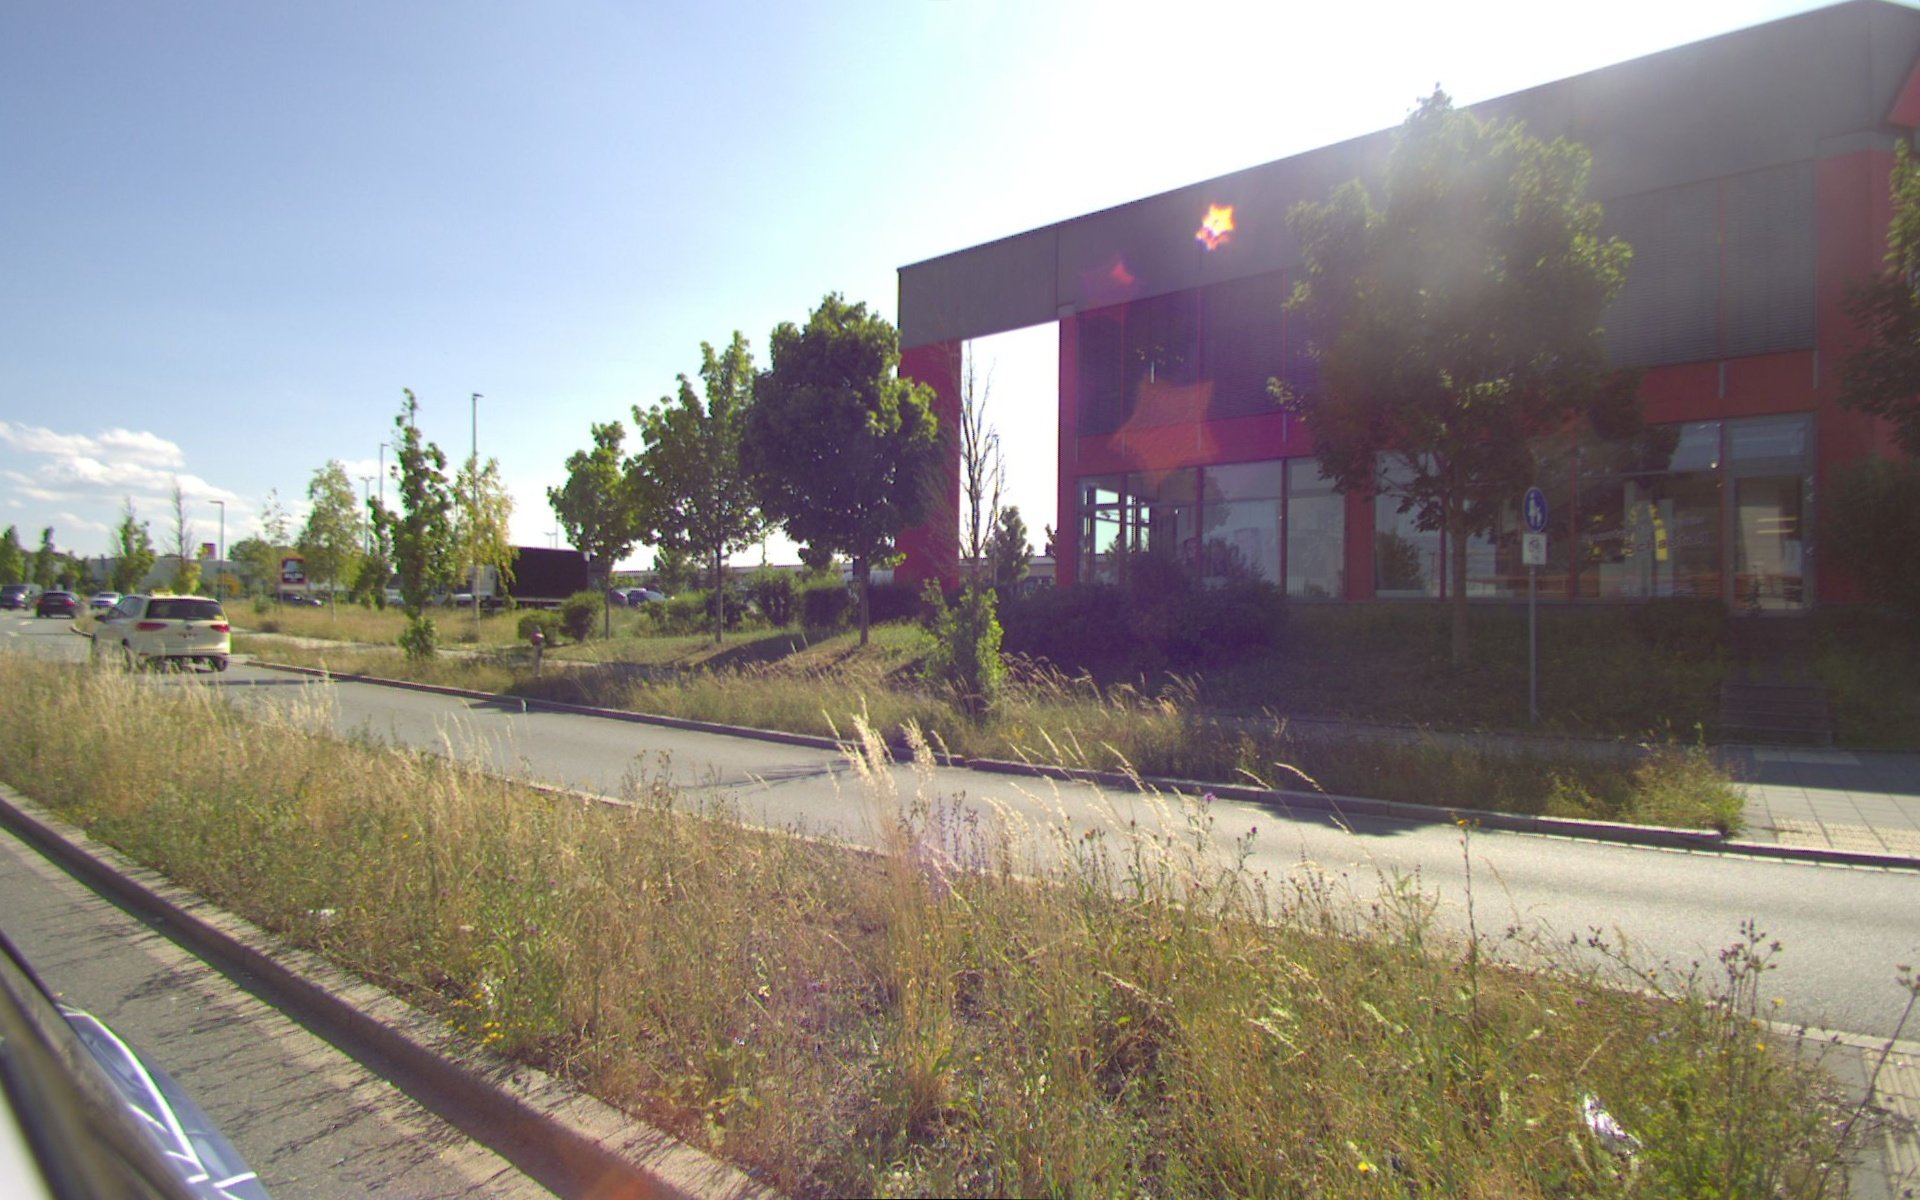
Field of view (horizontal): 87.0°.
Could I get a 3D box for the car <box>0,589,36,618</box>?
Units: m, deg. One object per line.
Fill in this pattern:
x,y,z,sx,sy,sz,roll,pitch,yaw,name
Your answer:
-71.144,0.278,75.814,2.045,2.064,4.696,2,-2,-33,car

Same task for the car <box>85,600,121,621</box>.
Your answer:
-71.576,0.865,84.538,1.967,1.697,4.009,1,-1,-36,car

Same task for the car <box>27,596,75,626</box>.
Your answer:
-52.786,0.645,58.746,1.969,1.630,4.005,2,-2,-42,car

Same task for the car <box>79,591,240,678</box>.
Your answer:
-17.614,0.729,22.214,4.151,1.728,1.839,0,-2,38,car
